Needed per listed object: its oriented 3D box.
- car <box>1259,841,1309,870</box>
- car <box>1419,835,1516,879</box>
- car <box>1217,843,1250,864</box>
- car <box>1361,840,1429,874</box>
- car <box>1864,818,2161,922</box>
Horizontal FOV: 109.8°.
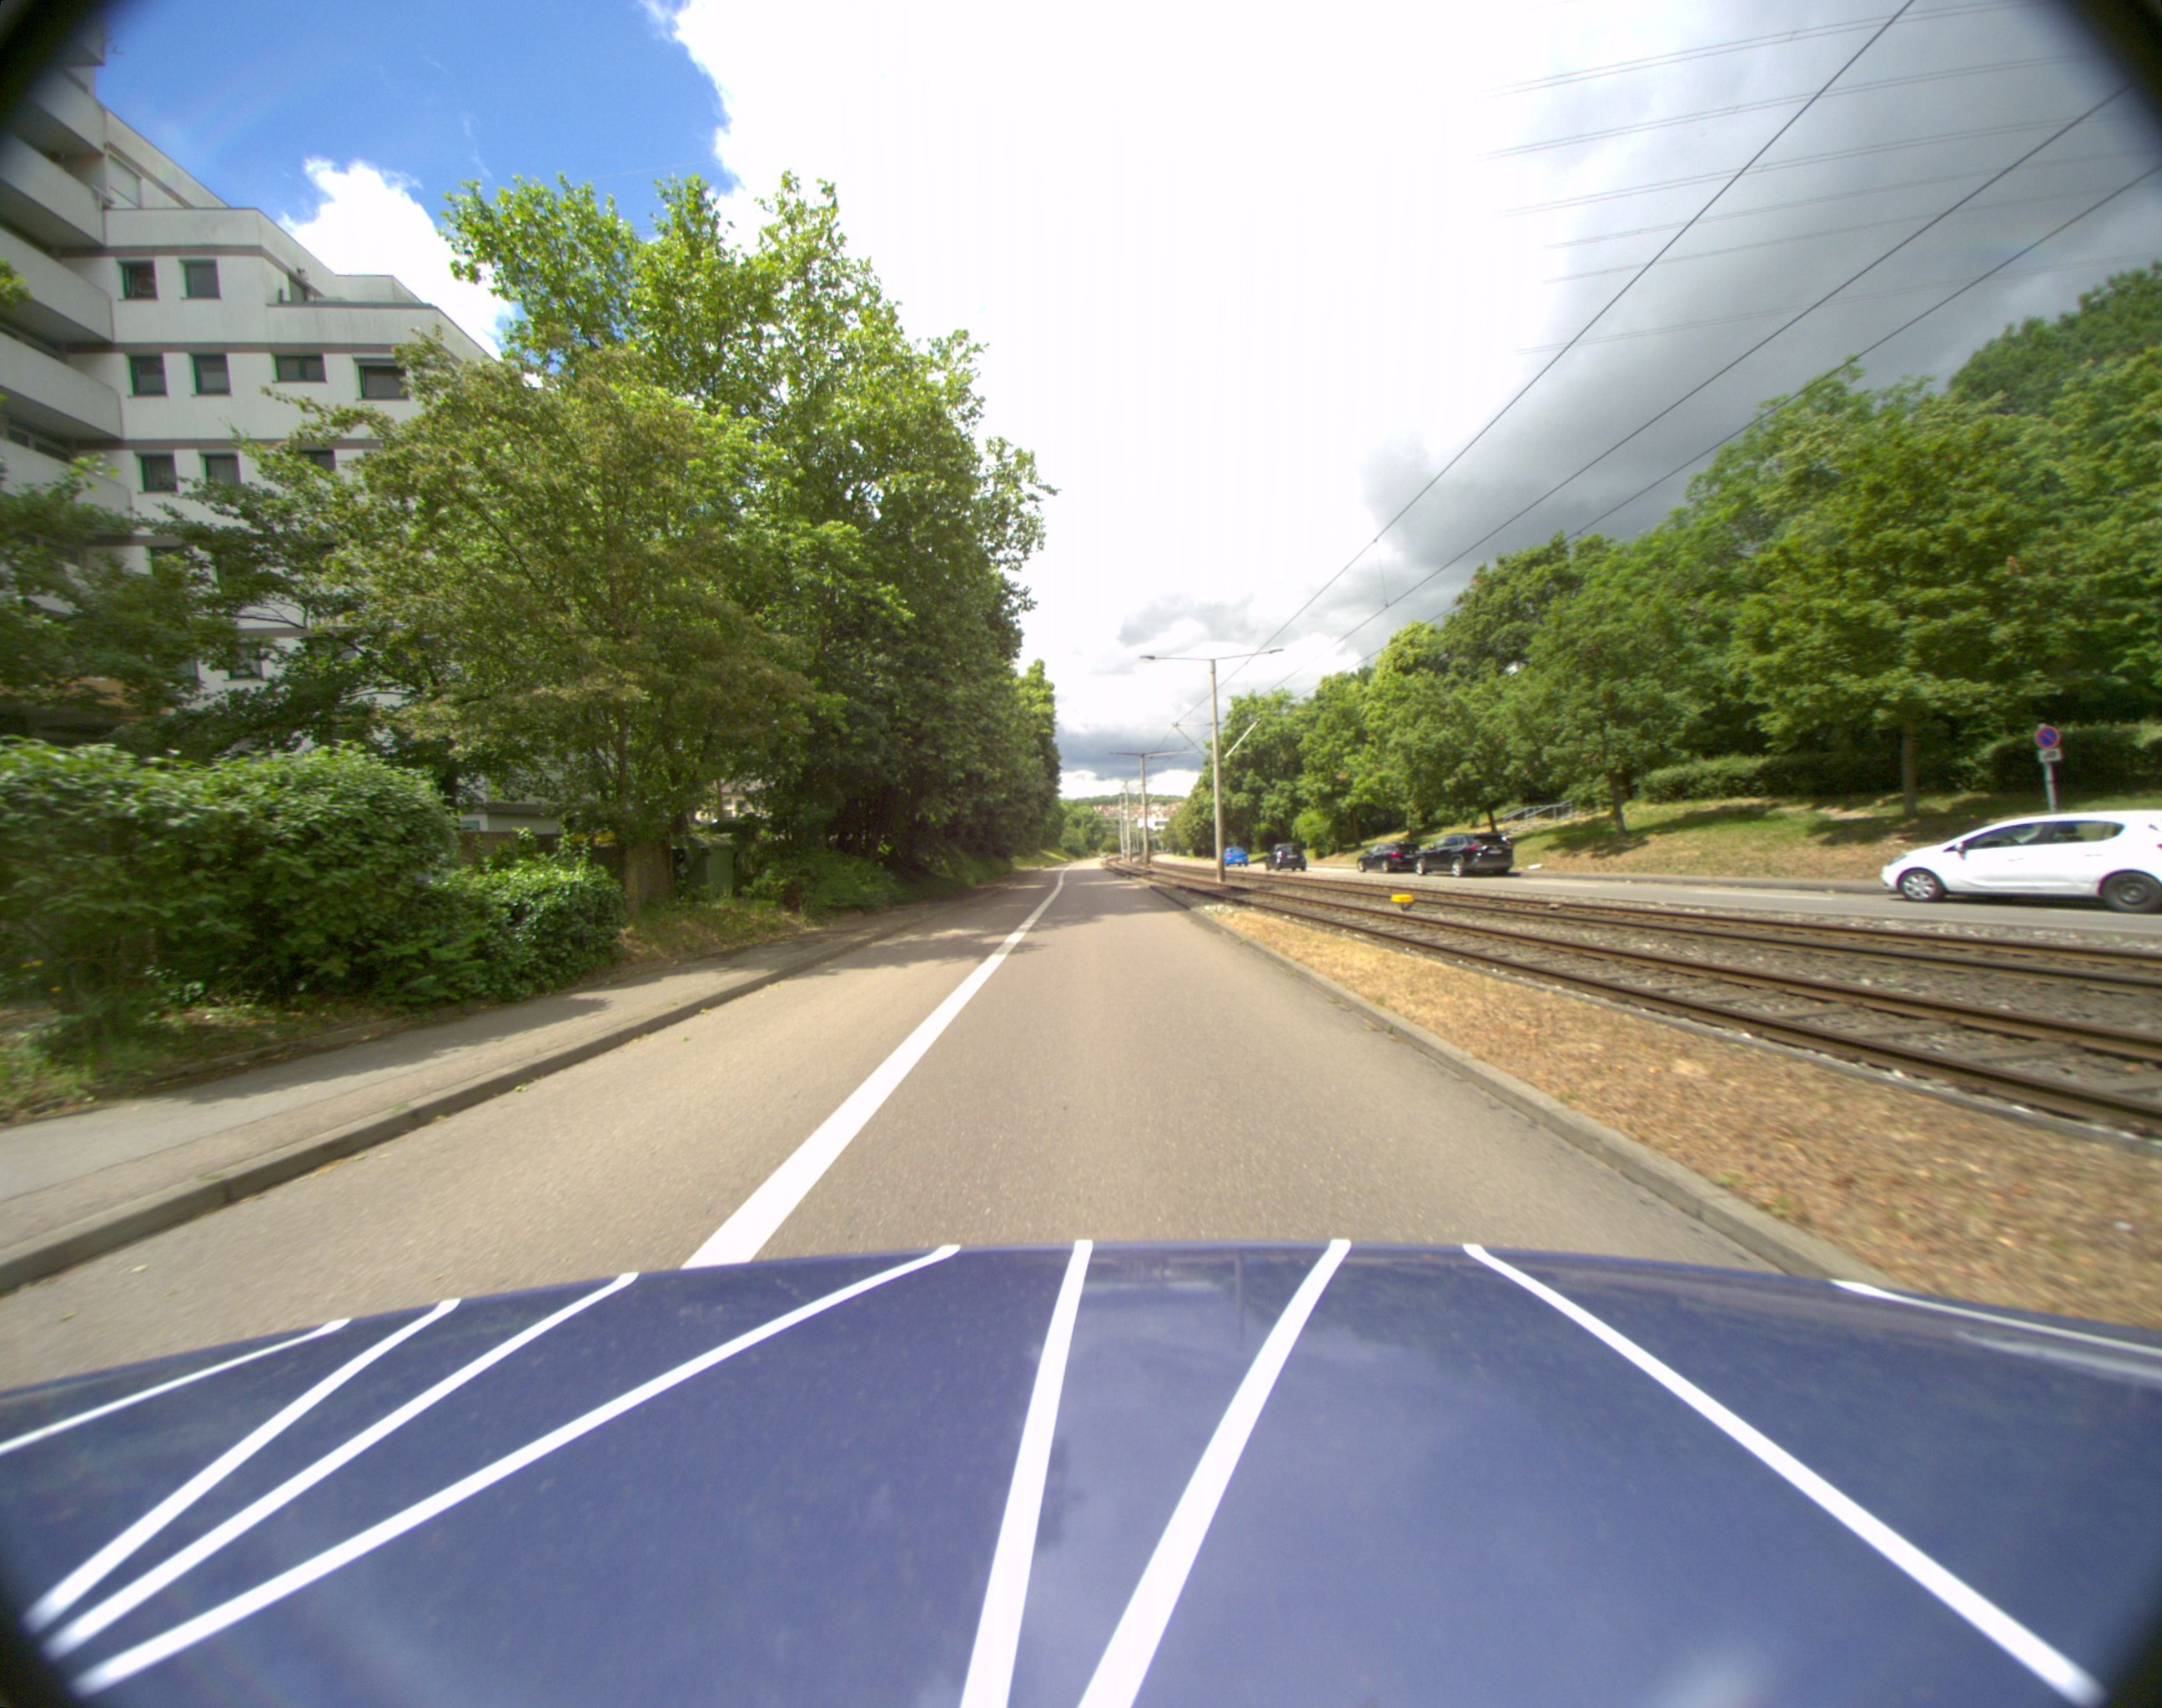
[{"bbox_3d":[11.278,0.073,42.454,1.659,1.503,3.736,-2,0,-2],"label":"car"},{"bbox_3d":[14.603,0.090,28.966,1.659,1.503,3.736,-2,0,-2],"label":"car"},{"bbox_3d":[11.663,-0.030,58.236,1.636,1.446,3.736,-2,0,-2],"label":"car"},{"bbox_3d":[14.410,0.107,35.055,1.605,1.431,3.469,-2,0,-2],"label":"car"},{"bbox_3d":[15.504,0.199,12.134,1.659,1.410,3.998,-2,0,-6],"label":"car"}]
